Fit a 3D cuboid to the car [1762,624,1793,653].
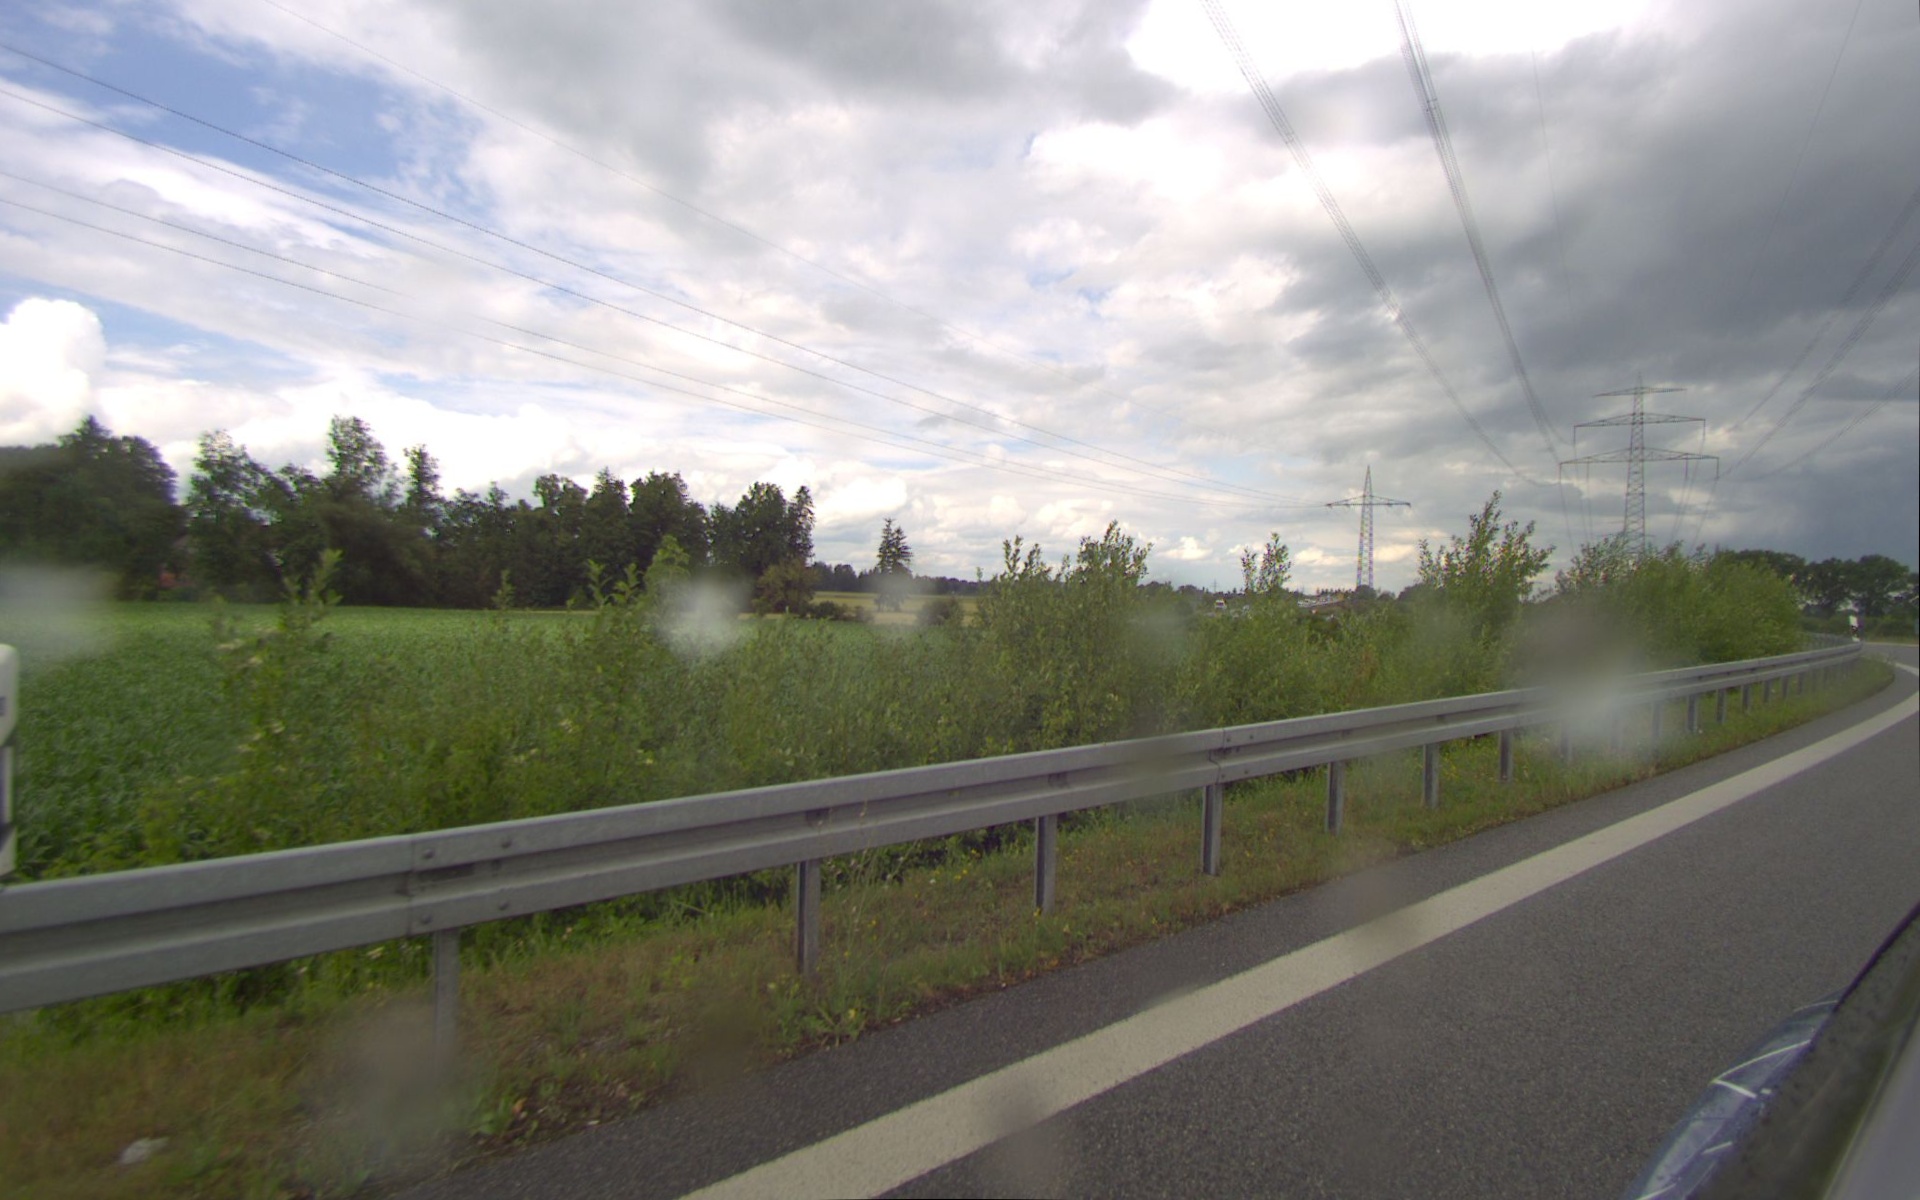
[{"bbox_3d":[84.846,3.985,104.980,2.323,2.760,6.190,2,-1,40],"label":"car"}]
